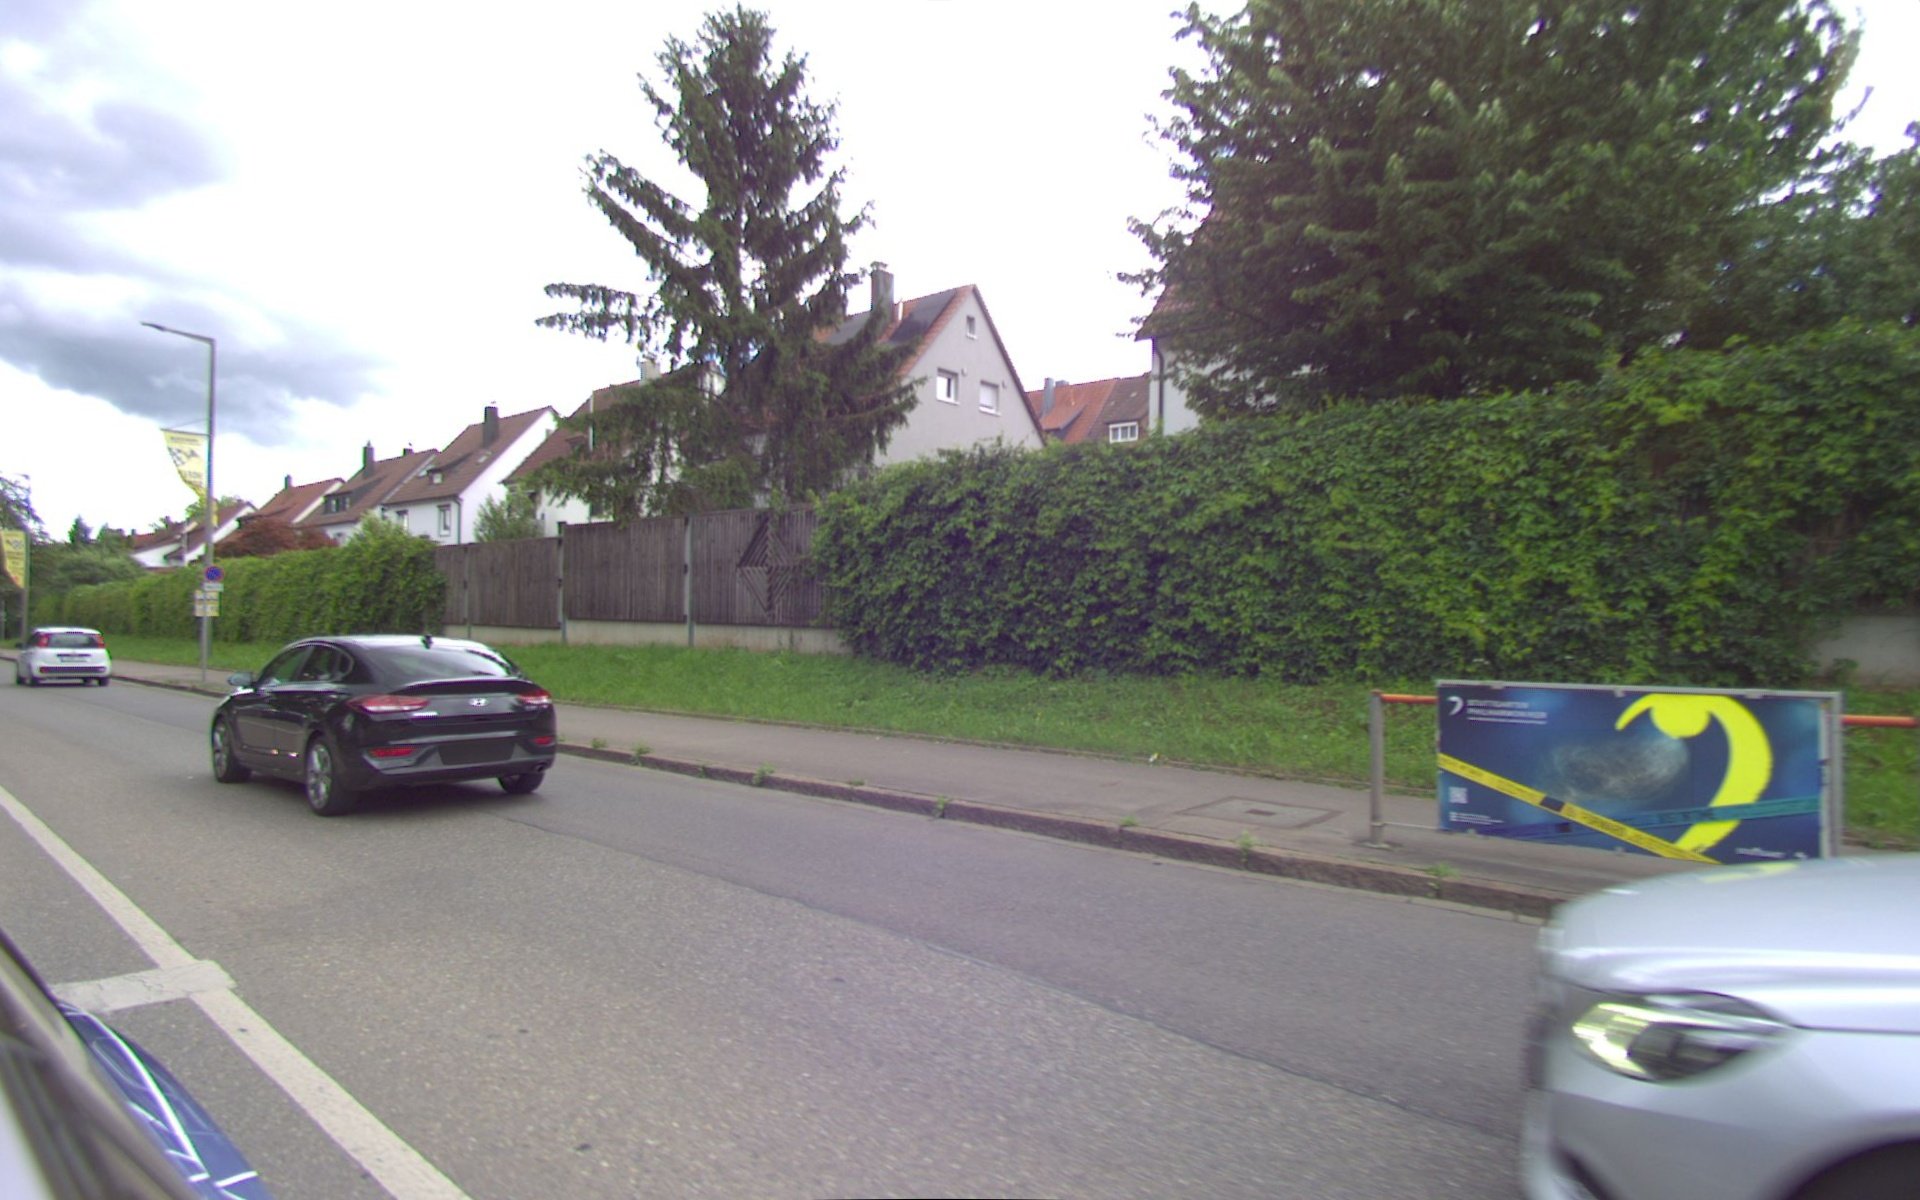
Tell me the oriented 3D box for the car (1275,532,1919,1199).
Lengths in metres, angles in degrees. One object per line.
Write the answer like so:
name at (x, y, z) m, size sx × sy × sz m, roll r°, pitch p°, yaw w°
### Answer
car at (3.265, 0.642, 1.234) m, size 5.200 × 1.579 × 1.801 m, roll -2°, pitch -1°, yaw 40°

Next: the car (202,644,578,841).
car at (-5.412, 1.118, 9.379) m, size 4.159 × 1.383 × 1.793 m, roll -2°, pitch -3°, yaw 42°

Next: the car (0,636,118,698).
car at (-24.365, 1.753, 27.177) m, size 4.696 × 1.536 × 1.794 m, roll -2°, pitch -4°, yaw 40°
